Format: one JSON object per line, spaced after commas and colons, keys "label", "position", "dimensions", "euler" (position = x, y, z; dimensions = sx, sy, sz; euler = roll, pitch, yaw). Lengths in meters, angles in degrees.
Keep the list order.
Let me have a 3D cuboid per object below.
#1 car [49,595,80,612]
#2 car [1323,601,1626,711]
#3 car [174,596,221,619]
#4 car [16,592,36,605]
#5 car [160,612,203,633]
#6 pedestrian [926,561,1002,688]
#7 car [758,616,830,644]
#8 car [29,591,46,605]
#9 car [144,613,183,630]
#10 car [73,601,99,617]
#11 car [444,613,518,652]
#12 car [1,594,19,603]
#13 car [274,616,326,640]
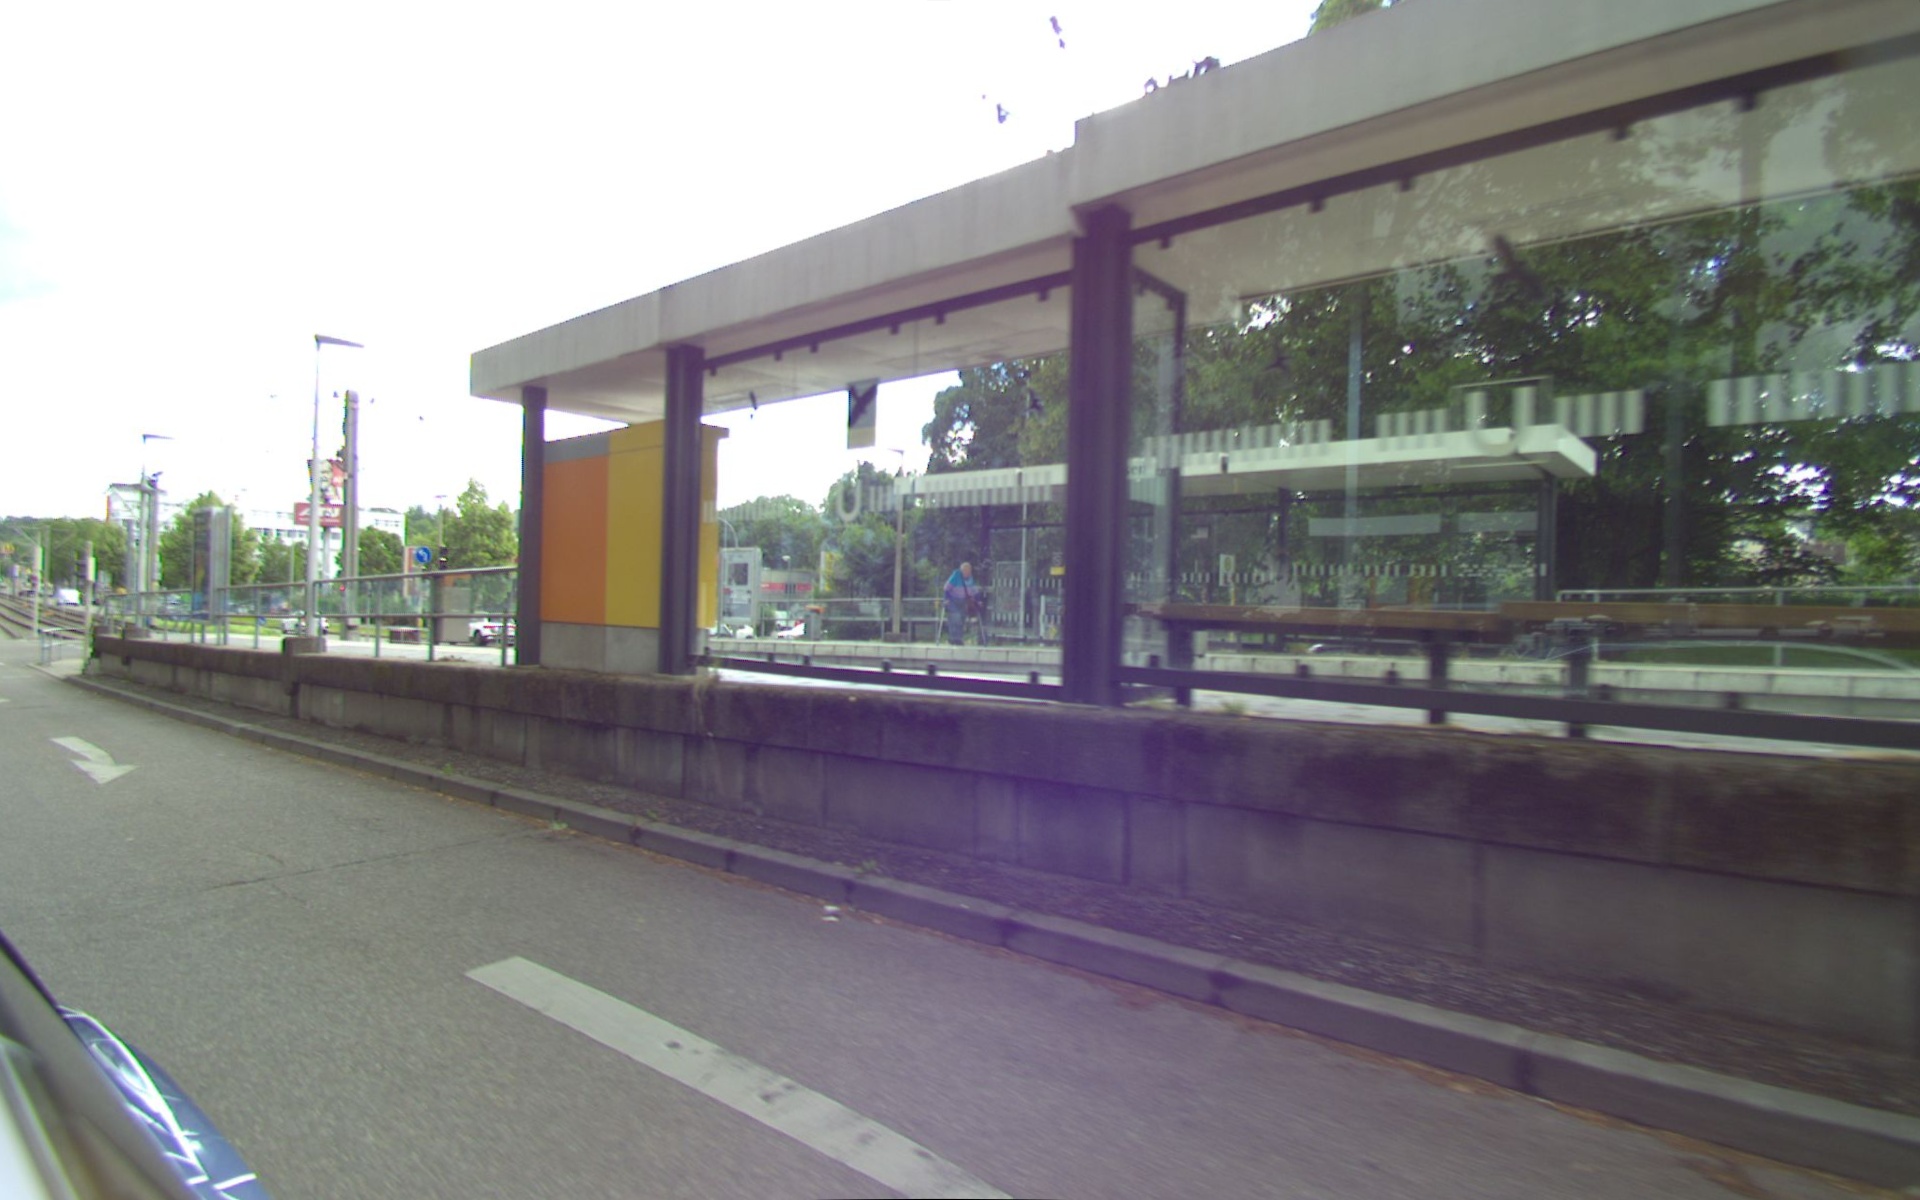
{"label": "car", "position": [-111.614, 0.436, 126.130], "dimensions": [4.880, 2.029, 1.974], "euler": [1, -2, 38]}
{"label": "car", "position": [9.288, 0.898, 18.495], "dimensions": [4.622, 1.687, 1.973], "euler": [1, 1, 41]}
{"label": "car", "position": [-97.586, 0.950, 129.491], "dimensions": [2.289, 2.769, 4.420], "euler": [1, -2, 44]}
{"label": "car", "position": [-161.925, -0.256, 175.356], "dimensions": [3.997, 2.029, 1.973], "euler": [1, -3, 40]}
{"label": "car", "position": [-58.835, 1.667, 76.470], "dimensions": [4.048, 1.457, 1.579], "euler": [1, -2, 38]}
{"label": "pedestrian", "position": [0.070, 0.434, 18.292], "dimensions": [0.976, 2.202, 0.959], "euler": [0, -1, 42]}
{"label": "car", "position": [-9.769, 1.790, 59.788], "dimensions": [1.847, 1.564, 3.944], "euler": [0, -2, 42]}
{"label": "car", "position": [-174.781, -0.329, 191.733], "dimensions": [6.000, 2.518, 1.848], "euler": [1, -3, 43]}
{"label": "car", "position": [-74.451, 2.051, 94.603], "dimensions": [4.503, 1.493, 1.973], "euler": [-1, -4, 40]}
{"label": "car", "position": [-116.634, 1.170, 134.984], "dimensions": [4.104, 2.029, 1.973], "euler": [1, -1, 40]}
{"label": "car", "position": [-24.001, 1.624, 50.637], "dimensions": [4.398, 1.764, 1.692], "euler": [1, -2, 41]}
{"label": "car", "position": [-172.239, -0.308, 183.456], "dimensions": [4.477, 1.594, 1.766], "euler": [1, -2, 39]}
{"label": "car", "position": [-43.868, 1.871, 67.244], "dimensions": [3.995, 1.457, 1.669], "euler": [1, -3, 39]}
